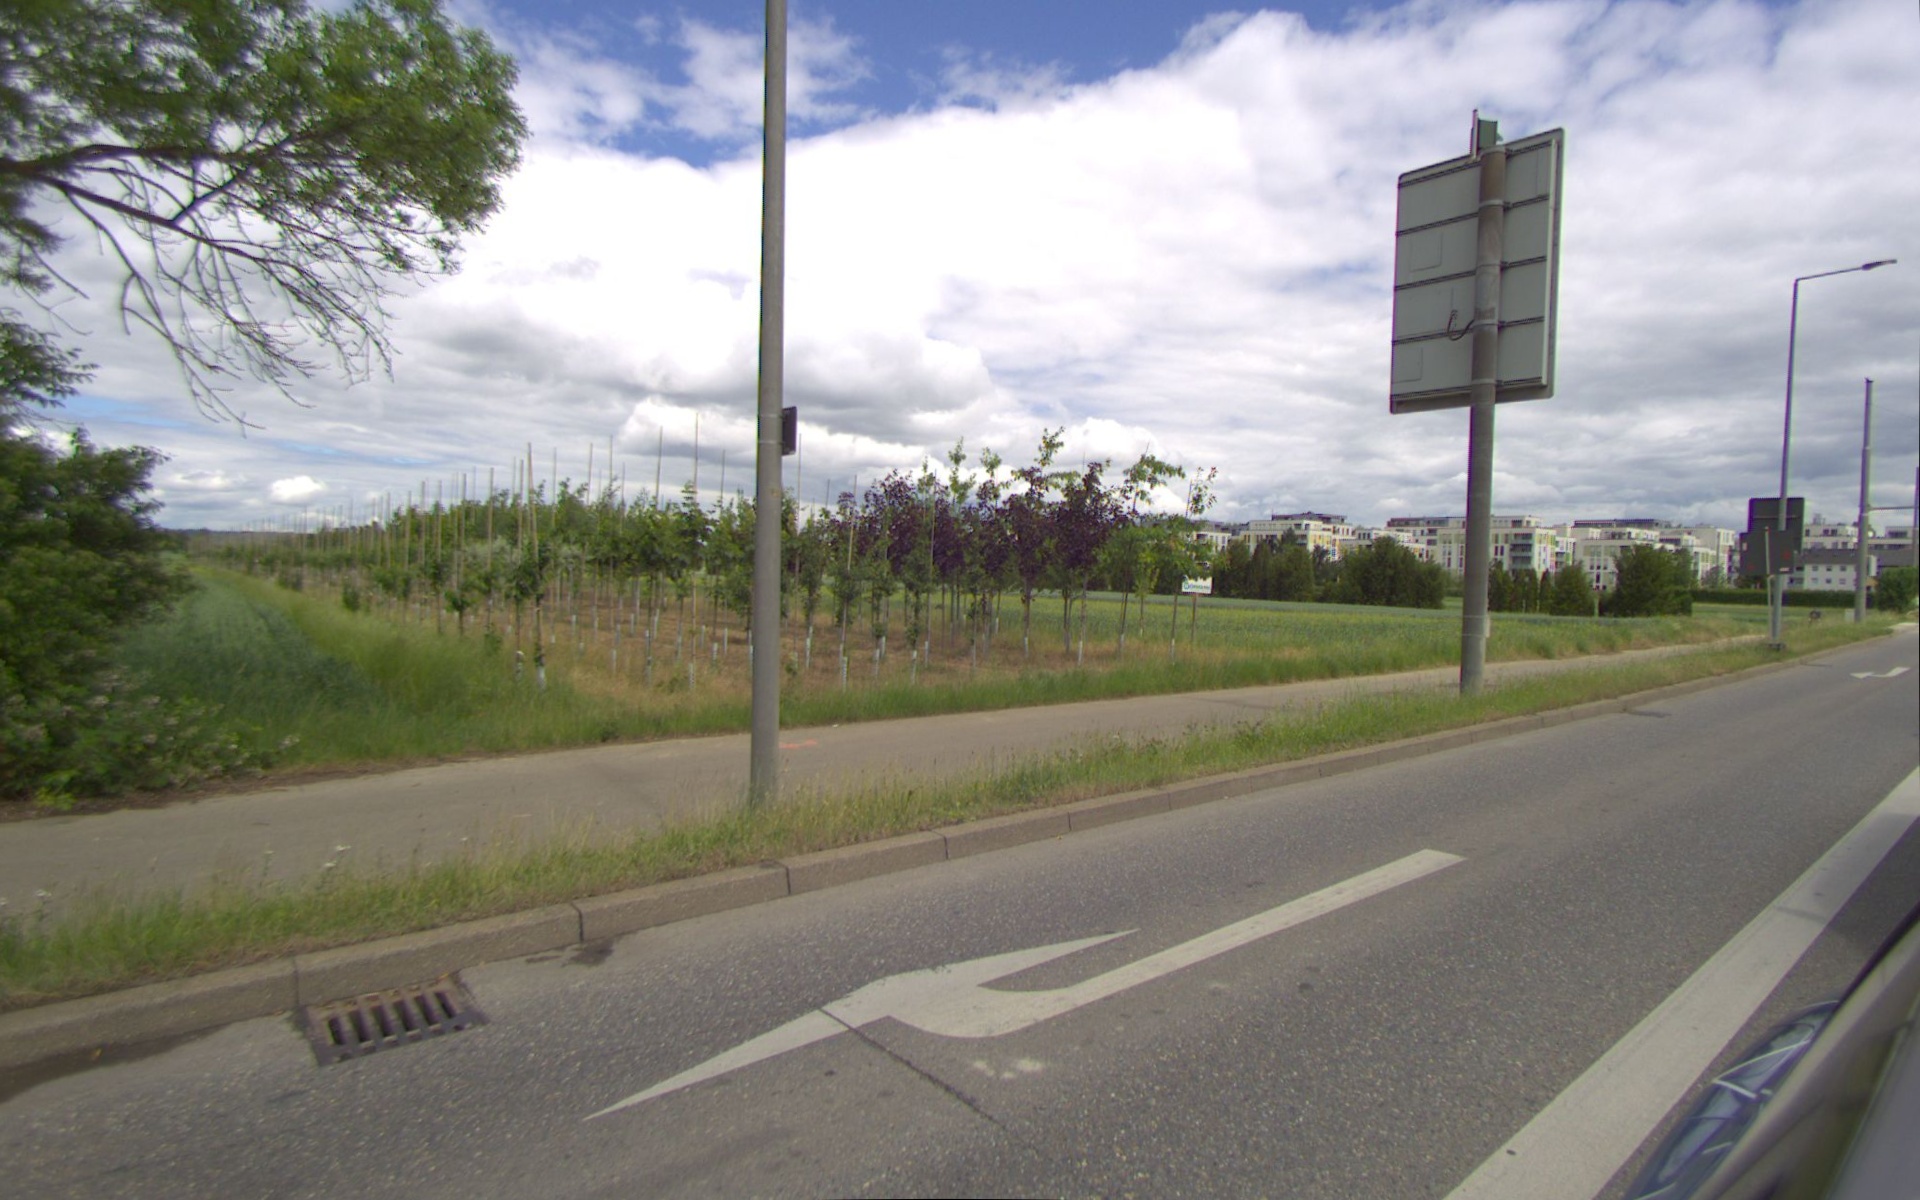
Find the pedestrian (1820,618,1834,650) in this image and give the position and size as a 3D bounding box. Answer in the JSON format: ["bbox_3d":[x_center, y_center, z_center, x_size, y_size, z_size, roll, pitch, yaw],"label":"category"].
[{"bbox_3d":[47.137,1.846,54.999,0.615,1.724,0.492,0,0,-42],"label":"pedestrian"}]
